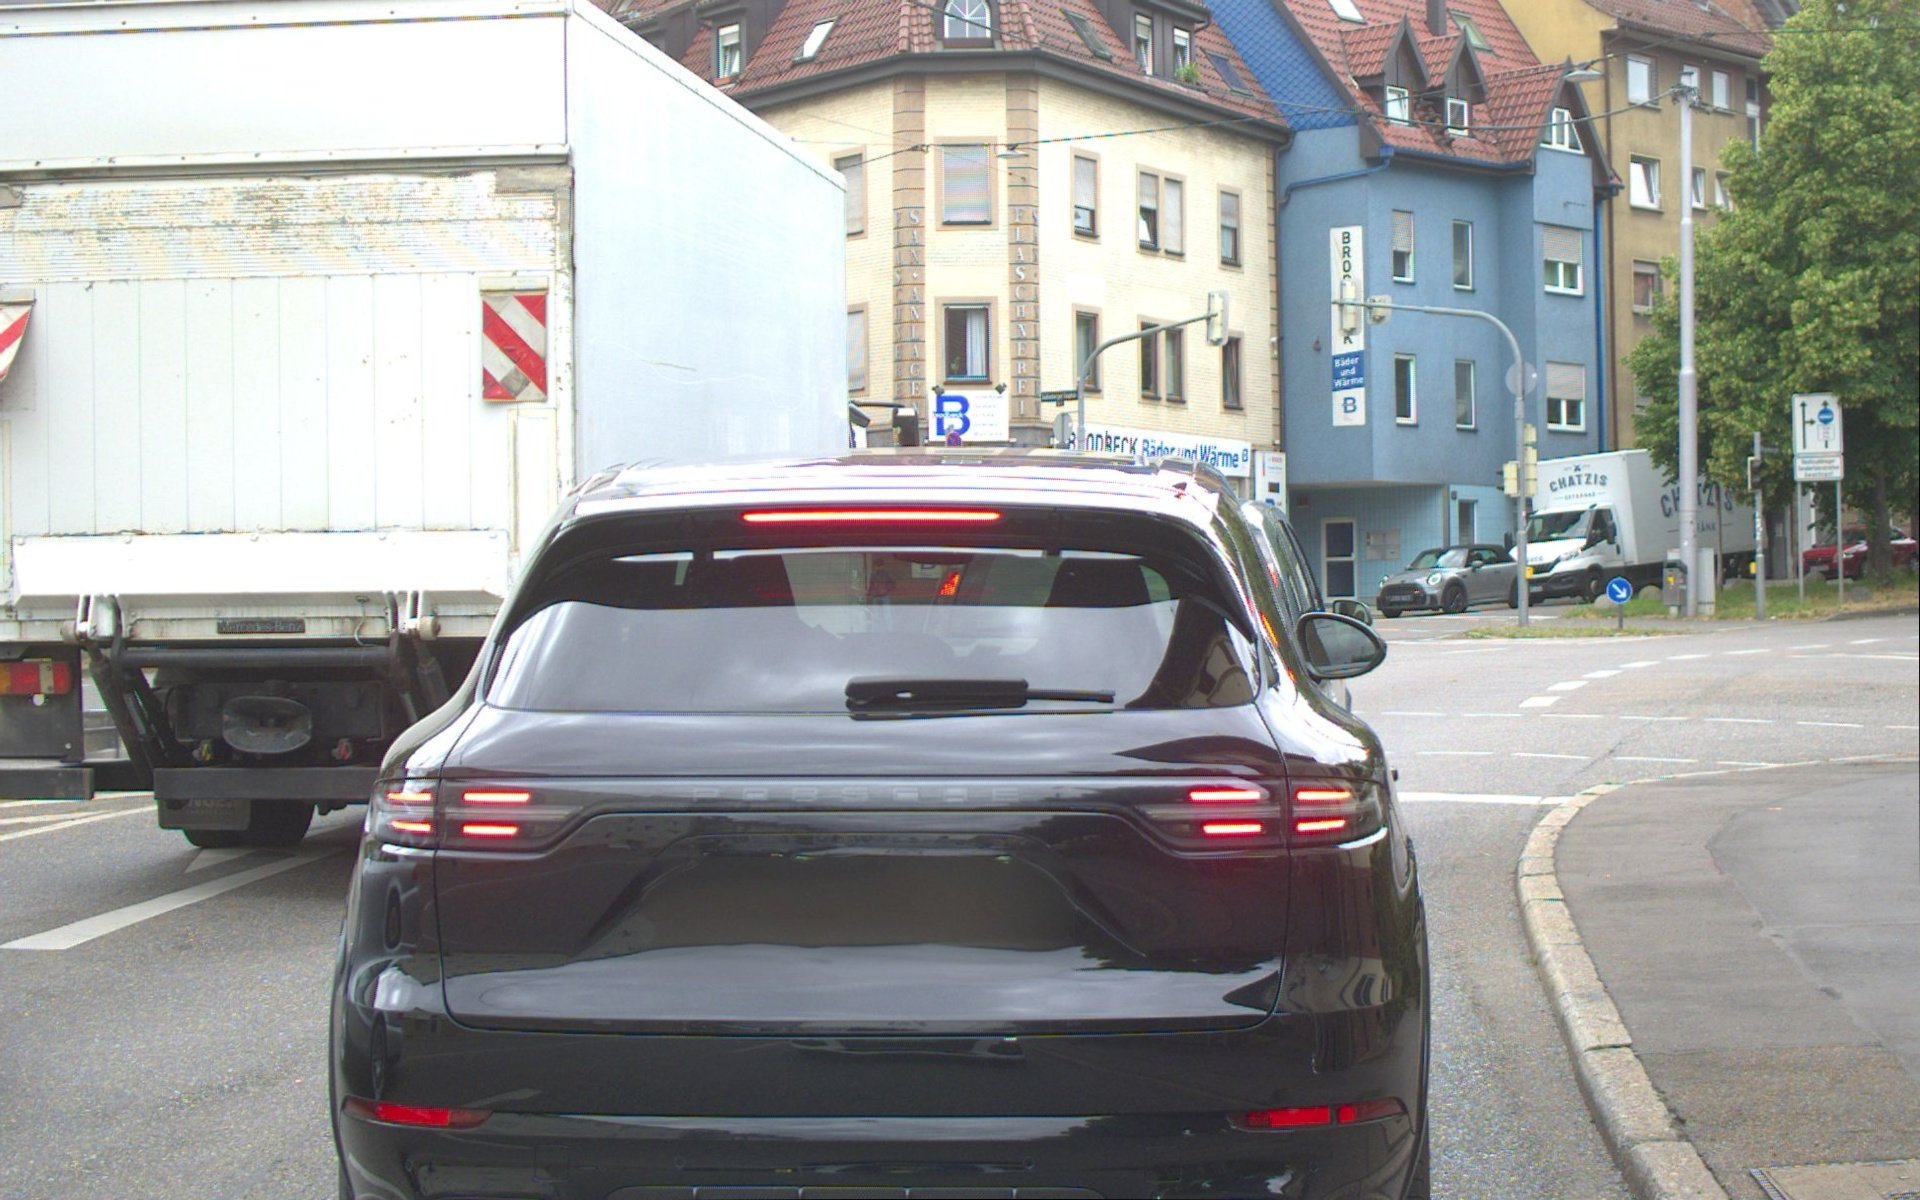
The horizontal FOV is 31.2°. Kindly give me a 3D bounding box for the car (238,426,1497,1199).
[{"bbox_3d":[-0.252,0.511,7.418,1.978,1.678,4.001,0,2,-3],"label":"car"}]

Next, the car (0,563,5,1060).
[{"bbox_3d":[-3.588,0.640,7.454,1.696,1.368,4.177,0,2,3],"label":"car"}]

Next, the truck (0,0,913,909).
[{"bbox_3d":[-2.222,-0.719,17.184,2.770,3.562,8.062,0,1,8],"label":"truck"}]

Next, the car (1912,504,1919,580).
[{"bbox_3d":[27.175,-1.472,91.243,1.999,2.007,3.990,2,1,43],"label":"car"}]

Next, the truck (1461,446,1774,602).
[{"bbox_3d":[15.127,-1.679,78.521,2.880,3.328,8.772,2,1,41],"label":"truck"}]

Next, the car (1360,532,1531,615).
[{"bbox_3d":[10.177,-0.565,71.909,1.997,1.678,3.992,0,1,34],"label":"car"}]

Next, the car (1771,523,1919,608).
[{"bbox_3d":[22.288,-0.863,86.259,1.999,2.007,3.990,2,1,43],"label":"car"}]

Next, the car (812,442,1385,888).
[{"bbox_3d":[0.757,0.217,15.069,1.994,1.678,3.998,0,1,10],"label":"car"}]
